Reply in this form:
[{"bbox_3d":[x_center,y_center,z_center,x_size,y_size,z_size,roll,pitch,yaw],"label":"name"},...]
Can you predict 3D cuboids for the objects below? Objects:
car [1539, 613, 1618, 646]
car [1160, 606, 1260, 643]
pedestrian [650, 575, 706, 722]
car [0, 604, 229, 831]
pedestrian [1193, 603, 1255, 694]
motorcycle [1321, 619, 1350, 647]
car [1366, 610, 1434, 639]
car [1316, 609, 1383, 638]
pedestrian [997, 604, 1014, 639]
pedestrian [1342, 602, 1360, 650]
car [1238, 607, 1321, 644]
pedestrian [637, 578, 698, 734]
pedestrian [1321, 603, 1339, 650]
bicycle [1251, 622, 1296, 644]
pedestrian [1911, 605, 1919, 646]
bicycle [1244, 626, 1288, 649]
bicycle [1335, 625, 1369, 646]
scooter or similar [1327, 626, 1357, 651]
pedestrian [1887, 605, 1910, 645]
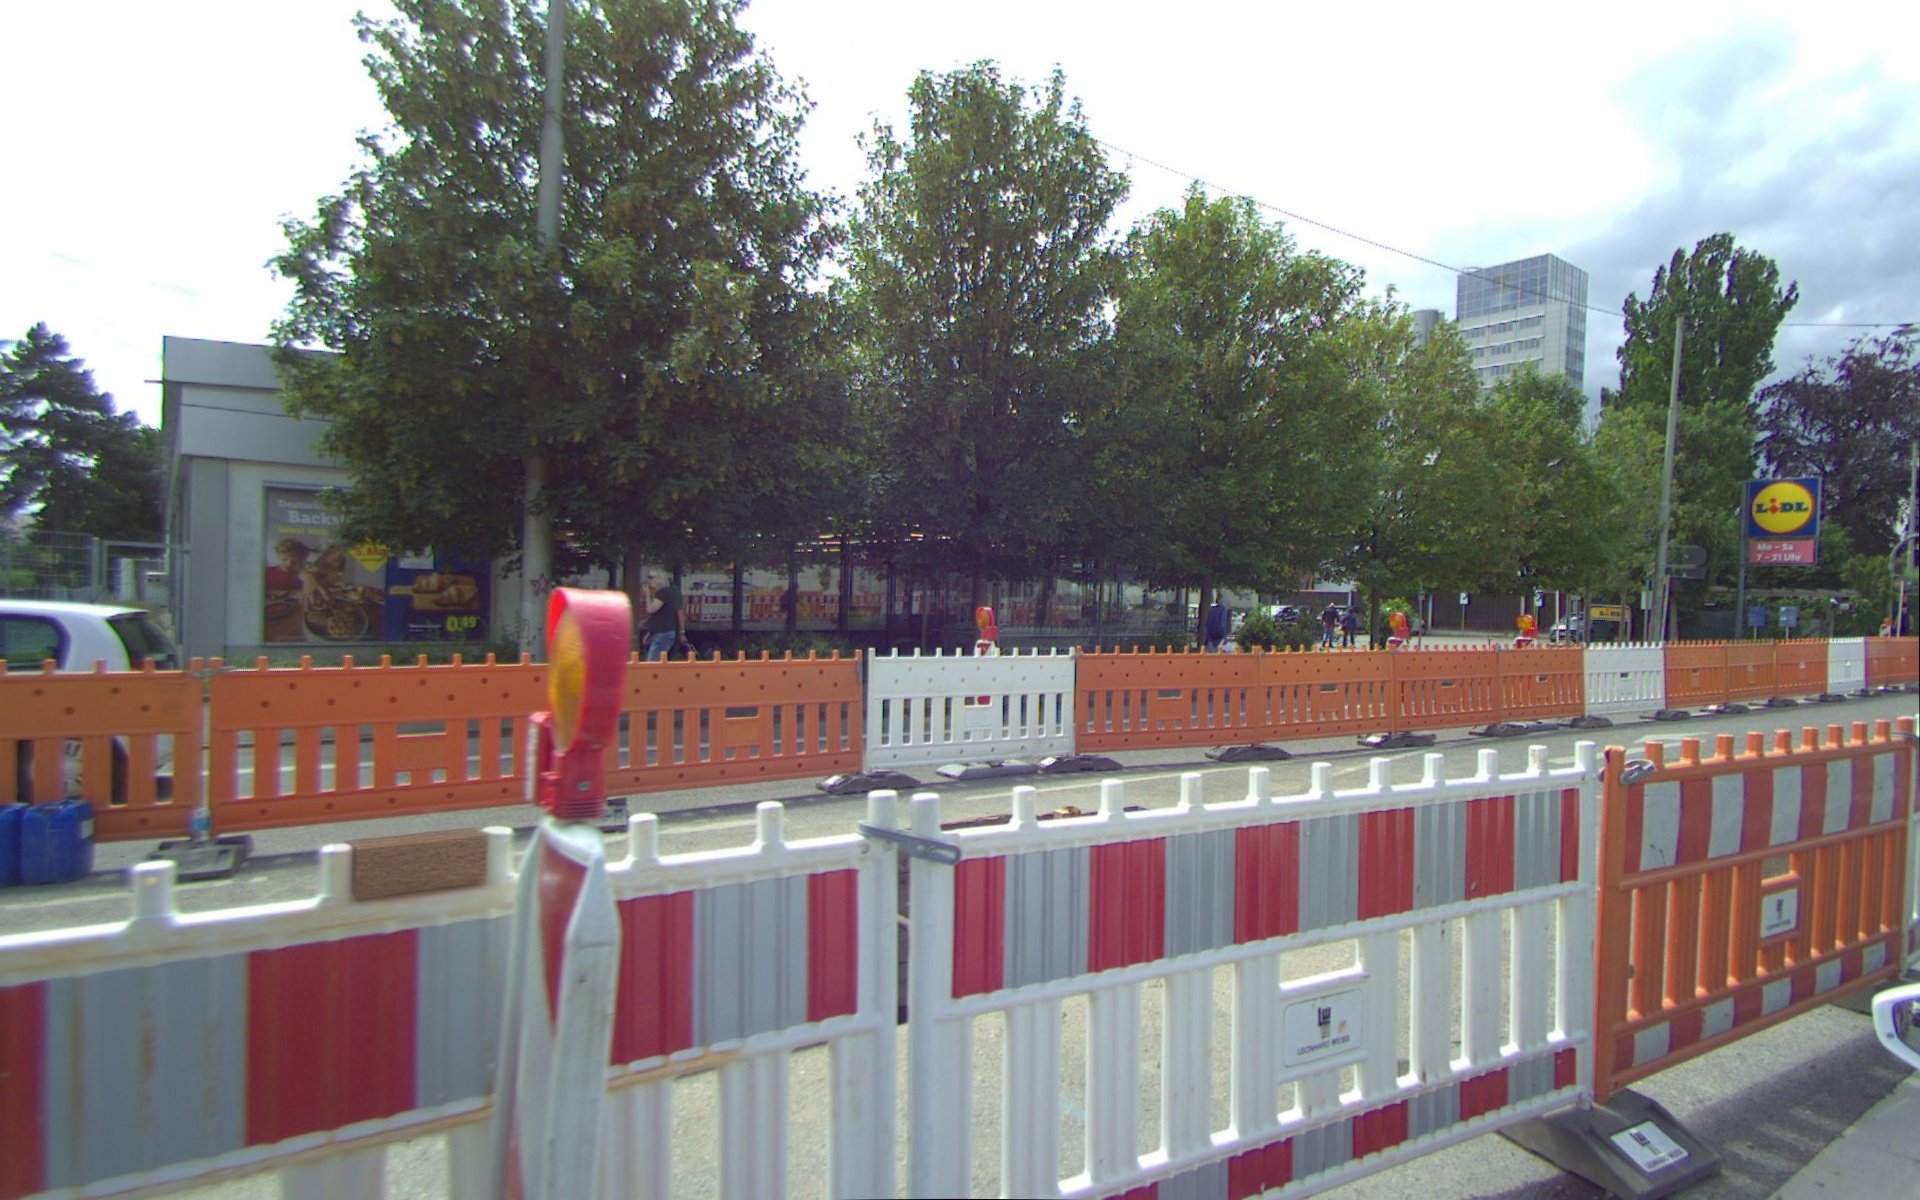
[{"bbox_3d":[29.828,1.408,48.433,3.964,1.472,1.979,1,0,-38],"label":"car"},{"bbox_3d":[11.293,1.107,45.319,4.632,1.593,1.978,1,0,-39],"label":"car"},{"bbox_3d":[-3.697,0.627,13.215,0.611,1.872,0.626,1,0,-8],"label":"pedestrian"},{"bbox_3d":[-7.733,0.783,7.073,3.952,1.472,1.846,1,1,-30],"label":"car"},{"bbox_3d":[4.876,0.872,18.562,0.823,1.624,0.746,1,0,-39],"label":"pedestrian"},{"bbox_3d":[17.327,1.512,46.384,0.844,1.209,1.957,0,-1,7],"label":"motorcycle"},{"bbox_3d":[24.574,1.349,56.016,3.969,1.572,1.976,1,0,-41],"label":"car"},{"bbox_3d":[22.285,1.349,57.442,3.969,1.572,1.976,1,0,-41],"label":"car"},{"bbox_3d":[2.126,0.999,47.393,0.601,1.638,0.500,1,0,-38],"label":"pedestrian"},{"bbox_3d":[15.572,1.016,40.034,0.607,1.884,0.417,0,0,-40],"label":"pedestrian"},{"bbox_3d":[15.694,1.233,49.270,3.963,1.718,1.979,1,0,-38],"label":"car"},{"bbox_3d":[-3.610,0.678,12.441,0.611,1.872,0.696,1,0,-8],"label":"pedestrian"},{"bbox_3d":[14.829,1.054,40.274,0.607,1.884,0.417,0,0,-40],"label":"pedestrian"},{"bbox_3d":[13.984,1.464,44.811,1.851,0.970,0.348,0,0,31],"label":"bicycle"},{"bbox_3d":[44.961,1.203,46.898,0.884,1.879,0.676,1,0,-37],"label":"pedestrian"},{"bbox_3d":[13.463,1.658,44.206,1.851,0.970,0.348,0,0,31],"label":"bicycle"},{"bbox_3d":[18.378,1.662,47.150,0.310,0.970,1.643,0,0,-30],"label":"bicycle"},{"bbox_3d":[15.549,1.566,40.850,1.219,0.956,0.648,1,0,-40],"label":"scooter or similar"},{"bbox_3d":[44.422,1.174,47.550,0.700,1.879,0.676,1,0,-37],"label":"pedestrian"}]
